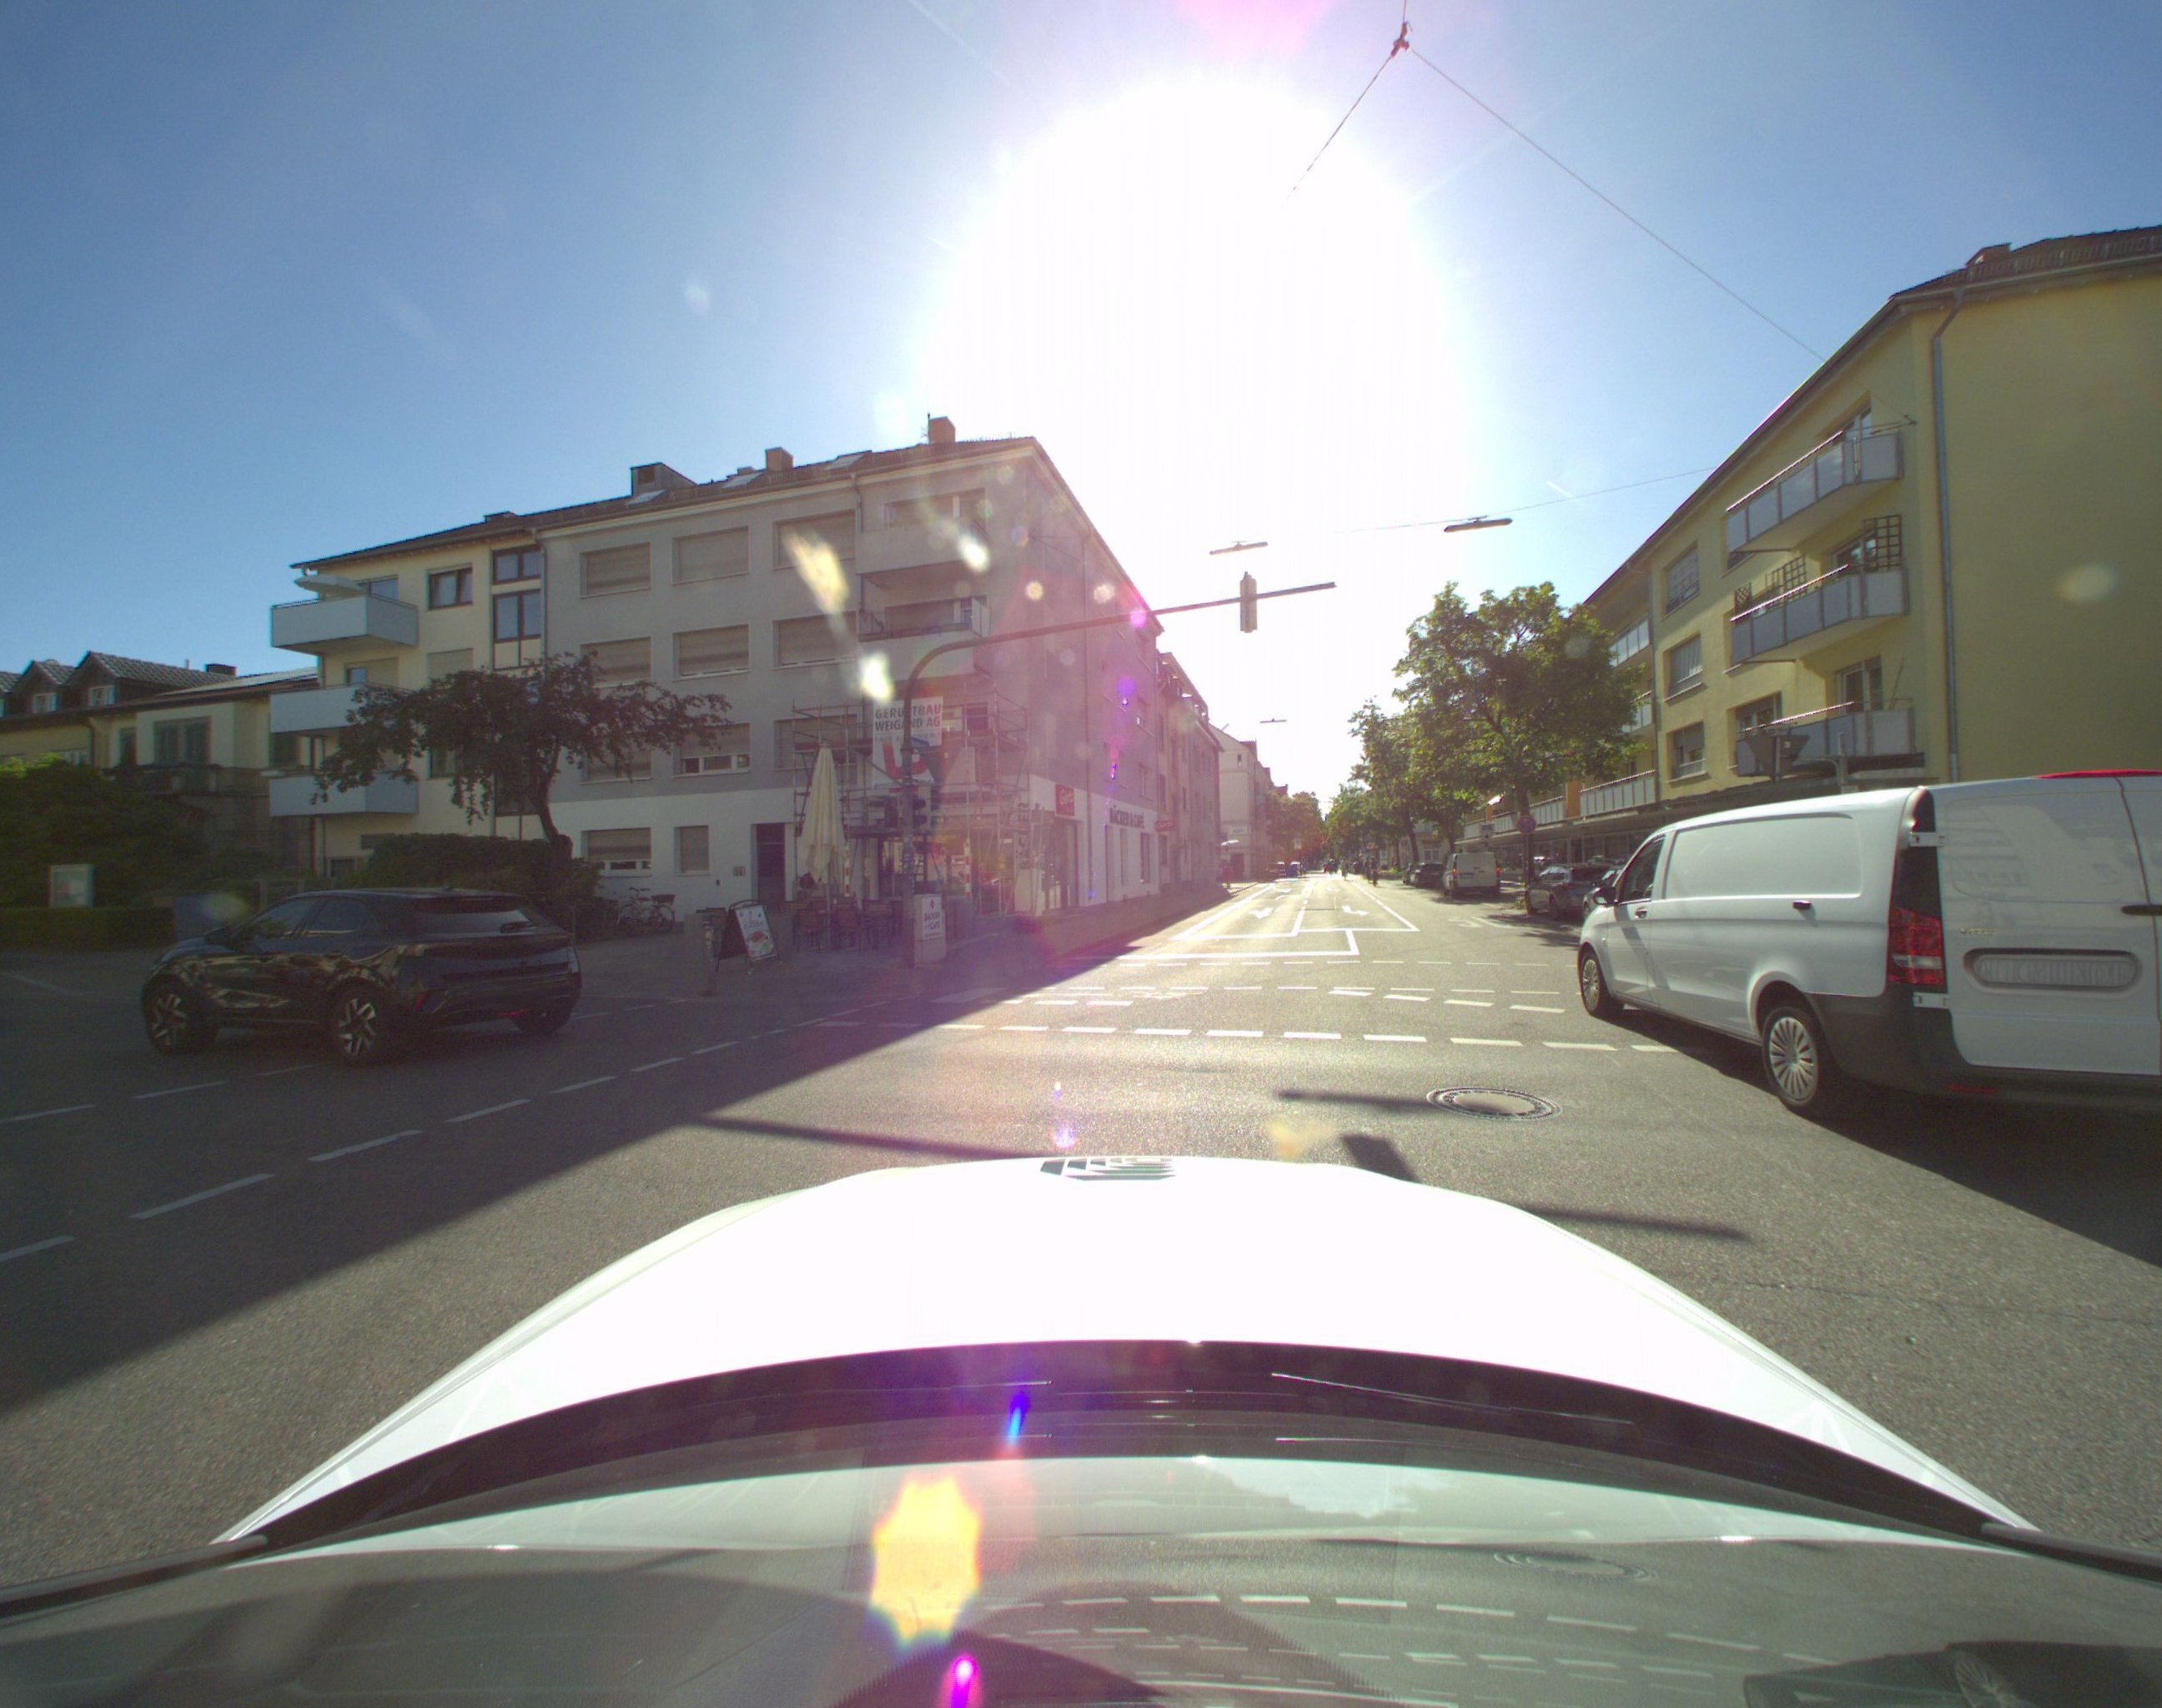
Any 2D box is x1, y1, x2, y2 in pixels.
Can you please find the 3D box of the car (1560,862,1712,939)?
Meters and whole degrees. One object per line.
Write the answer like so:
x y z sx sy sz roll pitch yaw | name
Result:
11.846 0.943 17.659 1.699 1.483 3.495 -2 -1 16 | car

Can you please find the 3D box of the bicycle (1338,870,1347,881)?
20.281 1.665 63.184 0.615 0.866 1.885 -2 -1 17 | bicycle

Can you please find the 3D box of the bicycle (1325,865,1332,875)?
25.480 1.645 83.919 0.627 1.041 1.803 -2 -1 16 | bicycle

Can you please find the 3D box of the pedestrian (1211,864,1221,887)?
8.836 1.425 53.268 0.573 1.467 0.704 -2 -1 11 | pedestrian

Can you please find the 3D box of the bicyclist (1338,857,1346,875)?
20.274 0.955 63.233 0.584 1.382 0.826 -2 -1 17 | bicyclist

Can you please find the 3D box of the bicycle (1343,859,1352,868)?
29.018 1.059 88.565 0.849 0.945 2.317 1 0 16 | bicycle

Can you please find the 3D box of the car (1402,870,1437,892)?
21.885 1.736 52.706 1.699 1.314 3.395 -2 -1 16 | car

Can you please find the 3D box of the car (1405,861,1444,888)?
19.797 1.146 47.032 1.699 1.483 3.395 -2 -1 16 | car

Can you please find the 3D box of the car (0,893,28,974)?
-22.813 1.599 15.535 3.957 1.519 1.924 -2 0 15 | car

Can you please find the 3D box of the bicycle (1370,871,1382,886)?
17.936 1.506 49.560 0.542 0.866 1.885 -2 -1 17 | bicycle

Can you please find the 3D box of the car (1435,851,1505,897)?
16.609 0.828 35.018 2.030 1.846 4.604 -2 -1 17 | car

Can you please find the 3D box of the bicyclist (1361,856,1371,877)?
19.920 0.868 56.928 0.542 1.382 0.826 -2 -1 17 | bicyclist

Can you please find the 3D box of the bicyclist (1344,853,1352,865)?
28.921 0.535 88.239 0.849 1.314 1.215 1 0 16 | bicyclist

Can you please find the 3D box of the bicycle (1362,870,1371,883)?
19.935 1.540 56.906 0.542 0.866 1.885 -2 -1 17 | bicycle

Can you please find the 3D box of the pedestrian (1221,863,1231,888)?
9.398 1.394 52.714 0.573 1.583 0.710 -2 -1 11 | pedestrian

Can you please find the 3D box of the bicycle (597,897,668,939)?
-10.634 1.520 19.317 1.576 0.940 0.515 -2 -1 18 | bicycle

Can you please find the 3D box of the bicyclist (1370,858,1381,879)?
17.909 0.855 49.524 0.542 1.262 0.806 -2 -1 17 | bicyclist

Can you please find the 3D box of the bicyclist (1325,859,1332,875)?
25.365 1.333 83.569 0.627 1.669 1.055 -2 -1 16 | bicyclist

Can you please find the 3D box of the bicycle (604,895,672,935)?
-10.948 1.511 20.128 1.576 0.940 0.515 -2 -1 18 | bicycle

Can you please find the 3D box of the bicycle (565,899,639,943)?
-10.863 1.514 18.481 1.576 0.940 0.515 -2 -1 18 | bicycle

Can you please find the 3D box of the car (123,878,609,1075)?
-6.953 1.064 8.010 3.955 1.558 1.776 -2 -1 18 | car

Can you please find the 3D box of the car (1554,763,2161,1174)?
5.320 0.539 5.964 1.954 1.810 4.851 -2 -1 15 | car

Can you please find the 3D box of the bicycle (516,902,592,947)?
-11.661 1.551 18.010 1.576 0.940 0.515 -2 -1 18 | bicycle

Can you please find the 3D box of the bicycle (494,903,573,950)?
-11.660 1.538 17.346 1.576 0.940 0.515 -2 -1 18 | bicycle

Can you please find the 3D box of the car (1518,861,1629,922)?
13.044 0.949 21.772 1.699 1.483 3.395 -2 -1 16 | car
